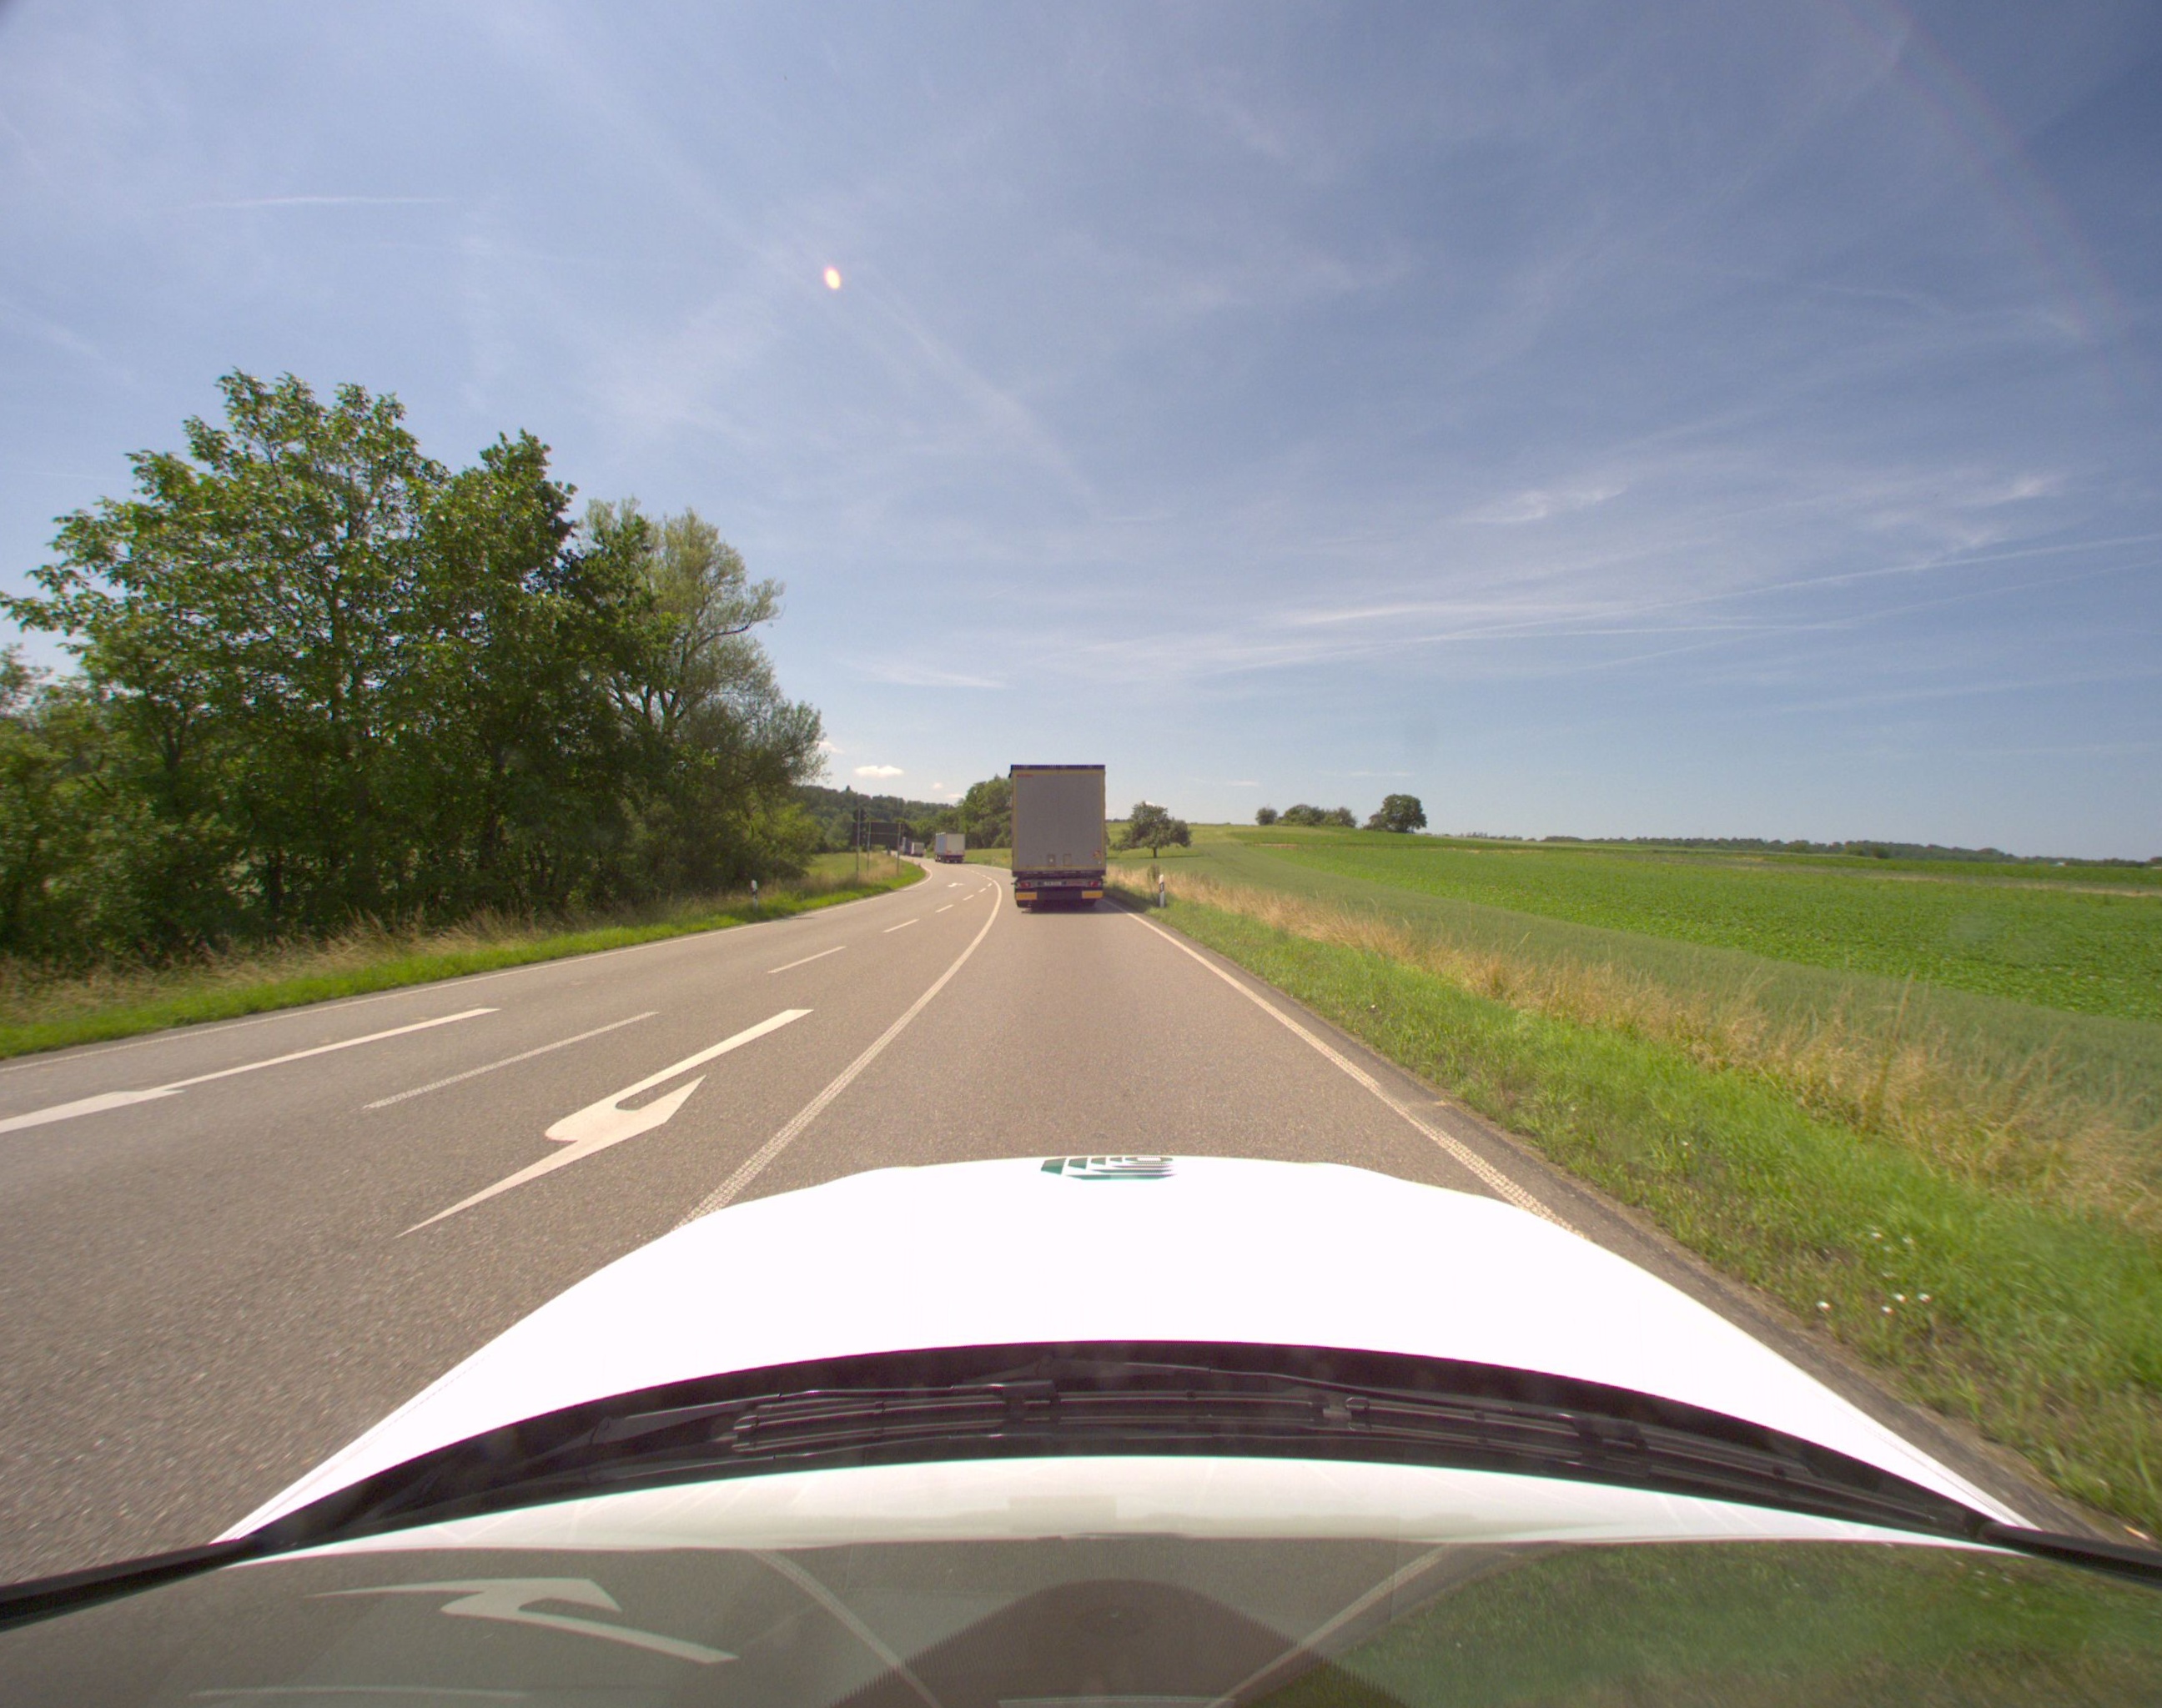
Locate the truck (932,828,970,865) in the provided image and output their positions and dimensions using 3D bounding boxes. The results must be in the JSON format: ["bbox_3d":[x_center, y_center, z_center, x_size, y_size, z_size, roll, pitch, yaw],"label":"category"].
[{"bbox_3d":[-18.116,-0.909,112.311,2.967,4.584,16.223,1,-1,-16],"label":"truck"}]

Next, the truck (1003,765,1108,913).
[{"bbox_3d":[-1.011,-0.383,26.538,2.803,3.946,9.576,0,0,-4],"label":"truck"}]

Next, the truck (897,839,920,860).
[{"bbox_3d":[-39.459,-1.017,185.598,3.539,4.241,13.320,2,-2,-18],"label":"truck"}]

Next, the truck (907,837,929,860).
[{"bbox_3d":[-33.912,-1.059,168.977,3.643,4.130,13.028,2,-2,-15],"label":"truck"}]
